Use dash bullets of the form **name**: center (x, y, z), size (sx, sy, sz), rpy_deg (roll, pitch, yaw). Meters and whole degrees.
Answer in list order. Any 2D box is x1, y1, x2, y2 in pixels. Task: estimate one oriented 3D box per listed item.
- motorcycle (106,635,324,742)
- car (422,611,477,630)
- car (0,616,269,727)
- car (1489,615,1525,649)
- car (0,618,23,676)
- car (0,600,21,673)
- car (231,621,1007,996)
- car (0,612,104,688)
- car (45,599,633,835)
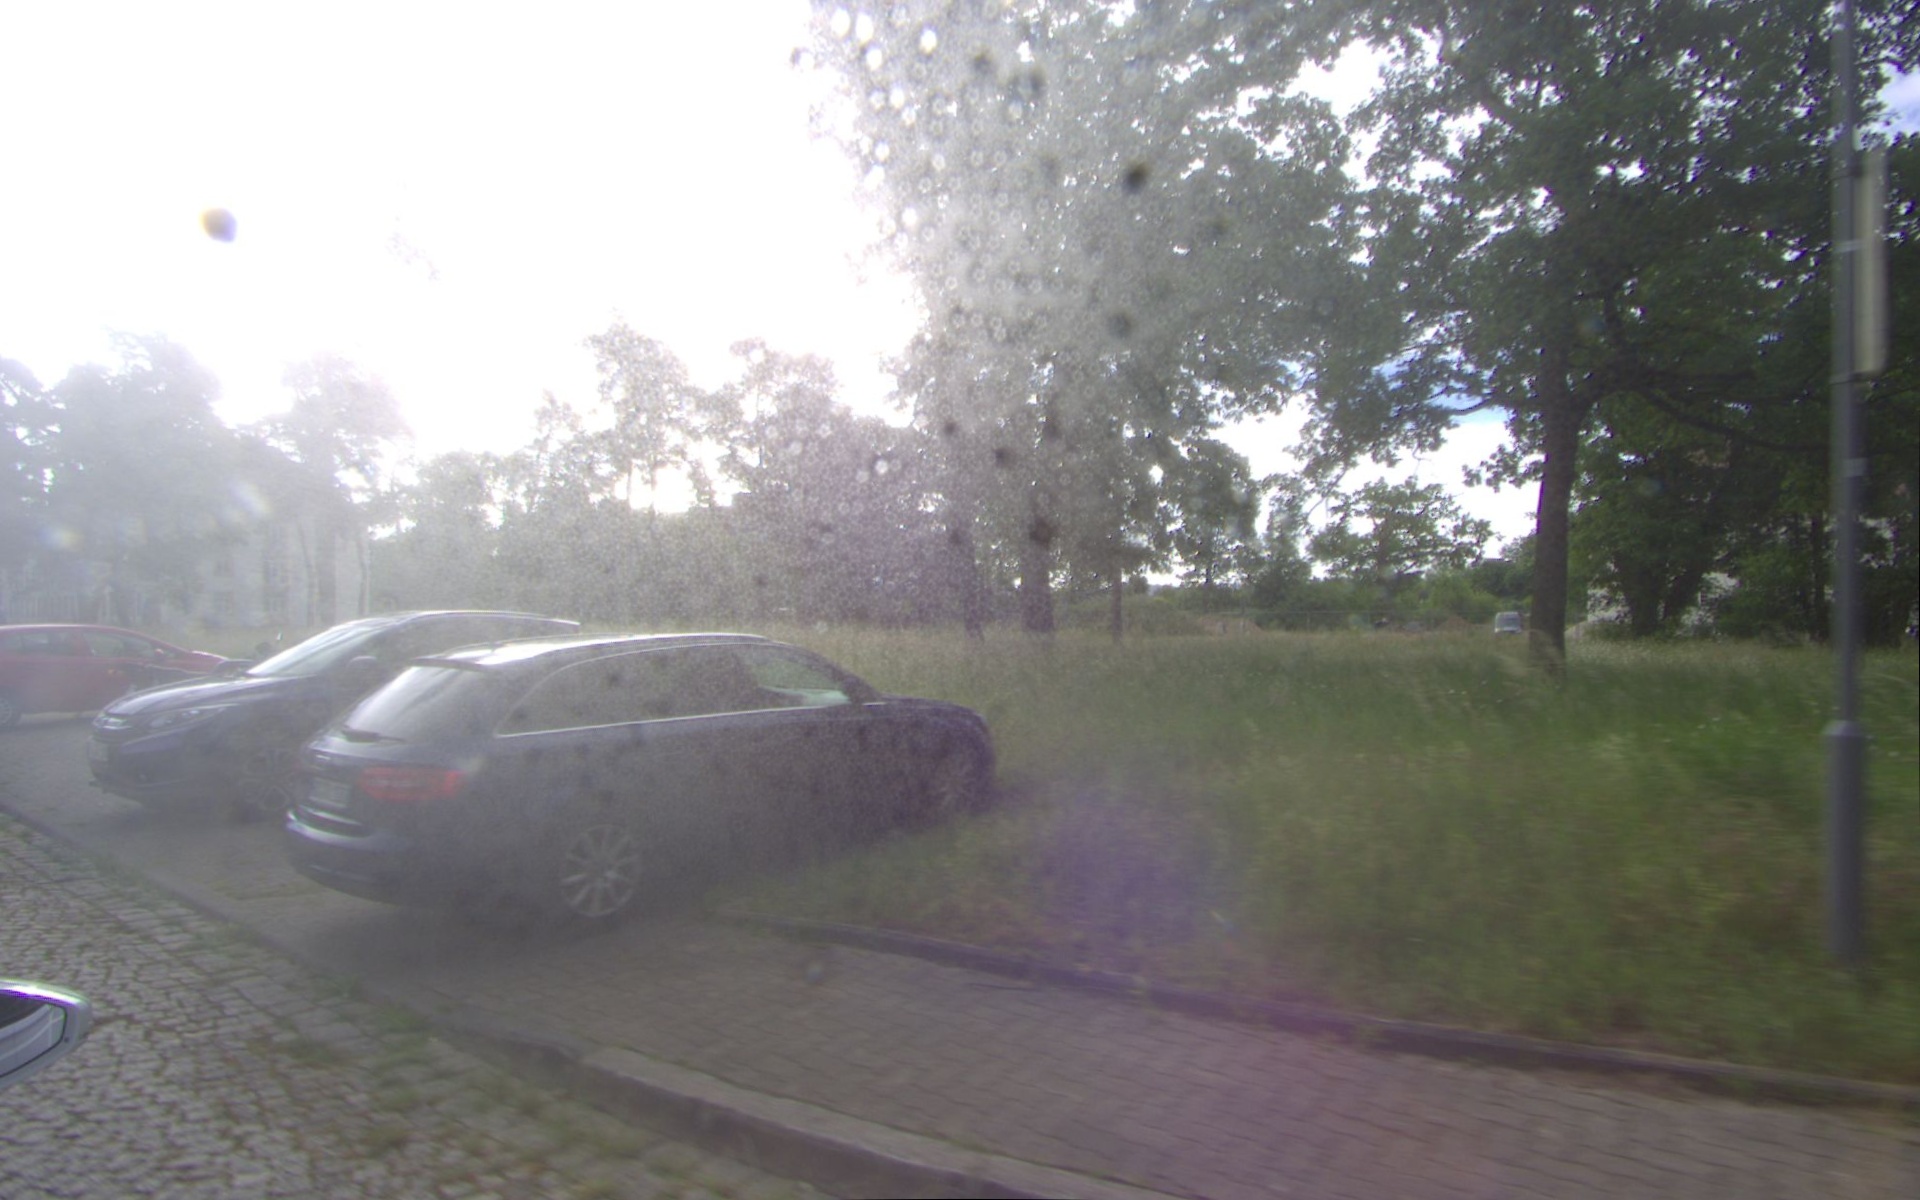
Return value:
- **motorcycle**: center (-9.659, 1.096, 13.090), size (0.560, 1.218, 2.224), rpy_deg (0, 0, 34)
- **car**: center (-58.290, 2.402, 114.437), size (2.079, 2.045, 5.284), rpy_deg (-1, -3, 37)
- **car**: center (-13.341, 1.029, 15.569), size (1.761, 1.516, 3.912), rpy_deg (0, 0, 35)
- **car**: center (45.449, 2.687, 83.310), size (2.240, 2.674, 5.668), rpy_deg (0, -3, 24)
- **car**: center (-26.621, 1.229, 25.270), size (1.698, 1.498, 4.088), rpy_deg (0, 0, 33)
- **car**: center (-28.611, 1.009, 26.802), size (1.940, 2.030, 4.782), rpy_deg (0, 0, 35)
- **car**: center (-1.732, 0.889, 6.344), size (1.903, 1.458, 4.339), rpy_deg (0, 0, 38)
- **car**: center (-21.492, 1.085, 21.653), size (1.926, 1.616, 4.192), rpy_deg (0, 0, 34)
- **car**: center (-5.375, 0.834, 9.235), size (1.861, 1.644, 4.233), rpy_deg (0, 0, 35)
